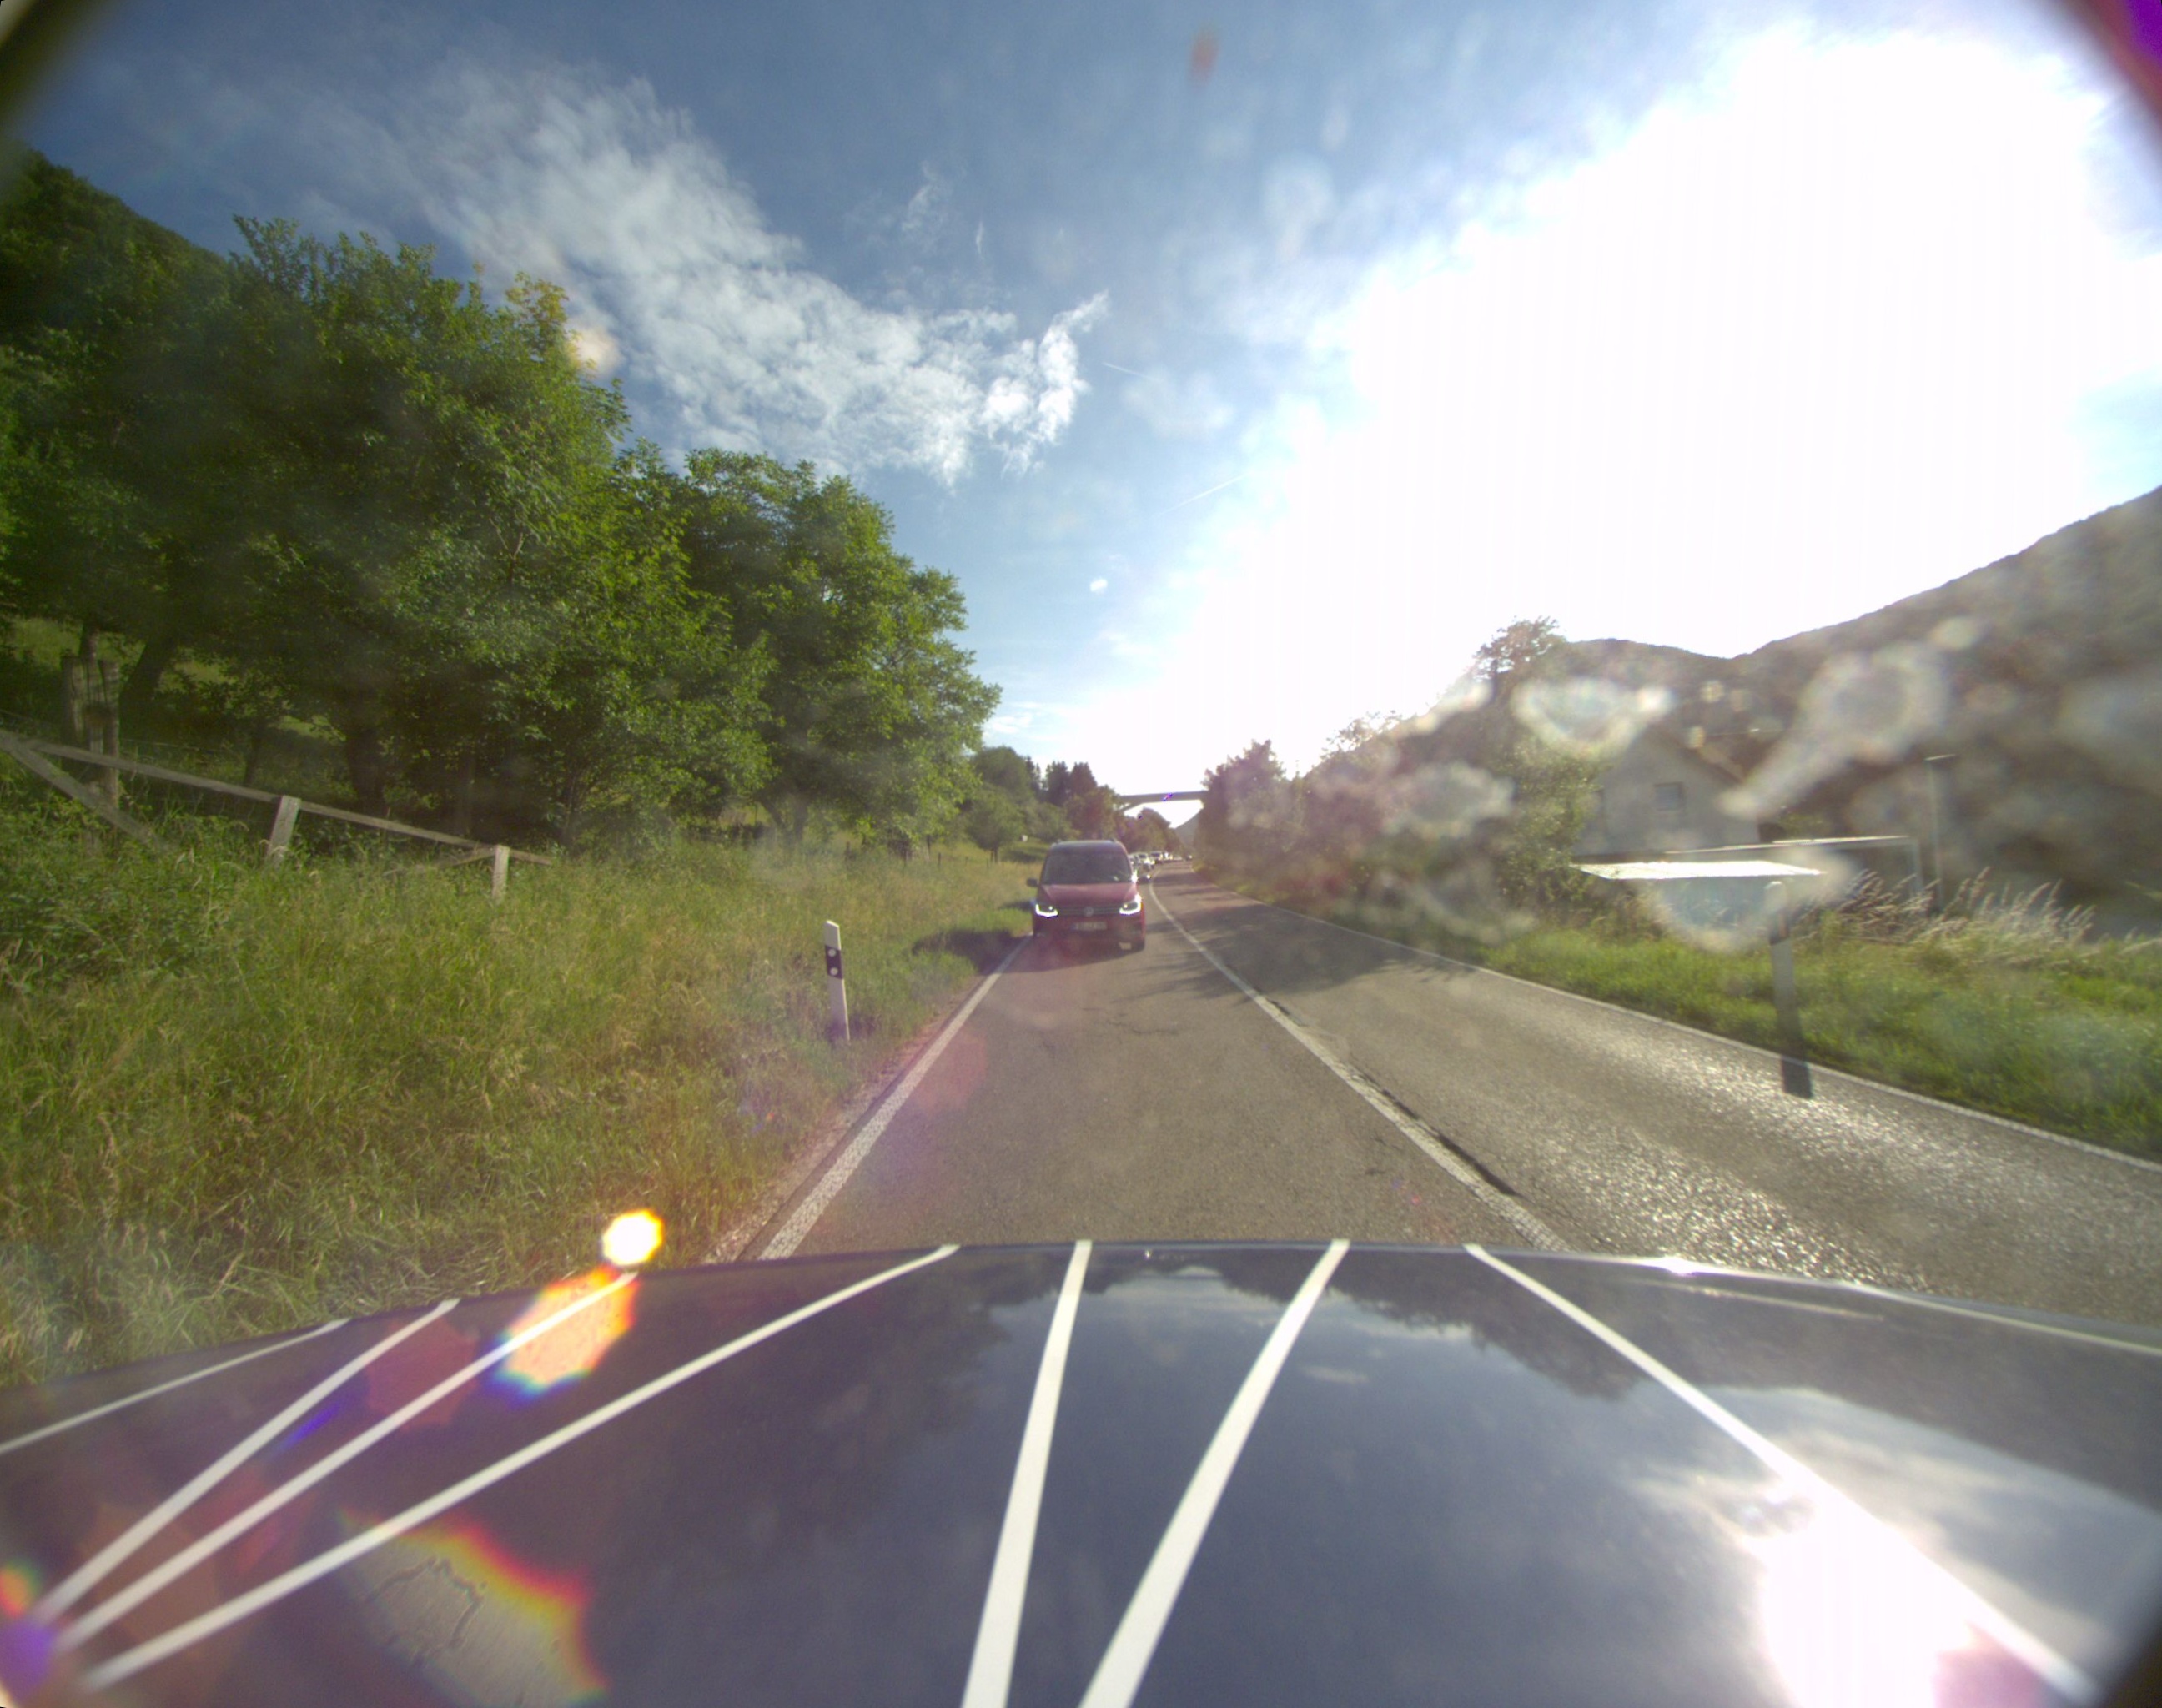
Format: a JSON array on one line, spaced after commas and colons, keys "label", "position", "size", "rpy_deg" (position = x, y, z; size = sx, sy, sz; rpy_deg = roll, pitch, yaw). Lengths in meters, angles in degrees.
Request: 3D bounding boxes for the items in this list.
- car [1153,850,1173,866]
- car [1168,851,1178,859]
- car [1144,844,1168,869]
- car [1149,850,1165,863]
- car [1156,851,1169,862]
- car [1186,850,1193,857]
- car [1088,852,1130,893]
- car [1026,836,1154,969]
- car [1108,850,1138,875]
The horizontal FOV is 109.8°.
[{"label": "car", "position": [8.070, 0.395, 74.778], "size": [1.841, 1.543, 4.179], "rpy_deg": [-1, 0, 6]}, {"label": "car", "position": [19.565, 0.191, 161.282], "size": [1.840, 1.543, 4.181], "rpy_deg": [-1, 0, 12]}, {"label": "car", "position": [6.405, 0.198, 64.640], "size": [1.914, 2.002, 4.002], "rpy_deg": [-1, 0, 6]}, {"label": "car", "position": [9.857, 0.252, 98.144], "size": [1.817, 1.608, 4.003], "rpy_deg": [-1, 0, 9]}, {"label": "car", "position": [12.134, 0.326, 113.333], "size": [1.817, 1.608, 4.002], "rpy_deg": [-1, 0, 8]}, {"label": "car", "position": [29.314, -0.155, 205.381], "size": [1.817, 1.608, 3.807], "rpy_deg": [-1, 0, 6]}, {"label": "car", "position": [1.178, 0.716, 30.866], "size": [1.570, 1.575, 3.527], "rpy_deg": [-1, 0, 4]}, {"label": "car", "position": [0.174, 0.679, 12.788], "size": [1.772, 1.855, 3.875], "rpy_deg": [-2, 1, 1]}, {"label": "car", "position": [2.813, 0.538, 50.231], "size": [1.841, 1.543, 4.179], "rpy_deg": [-1, 0, 5]}]
